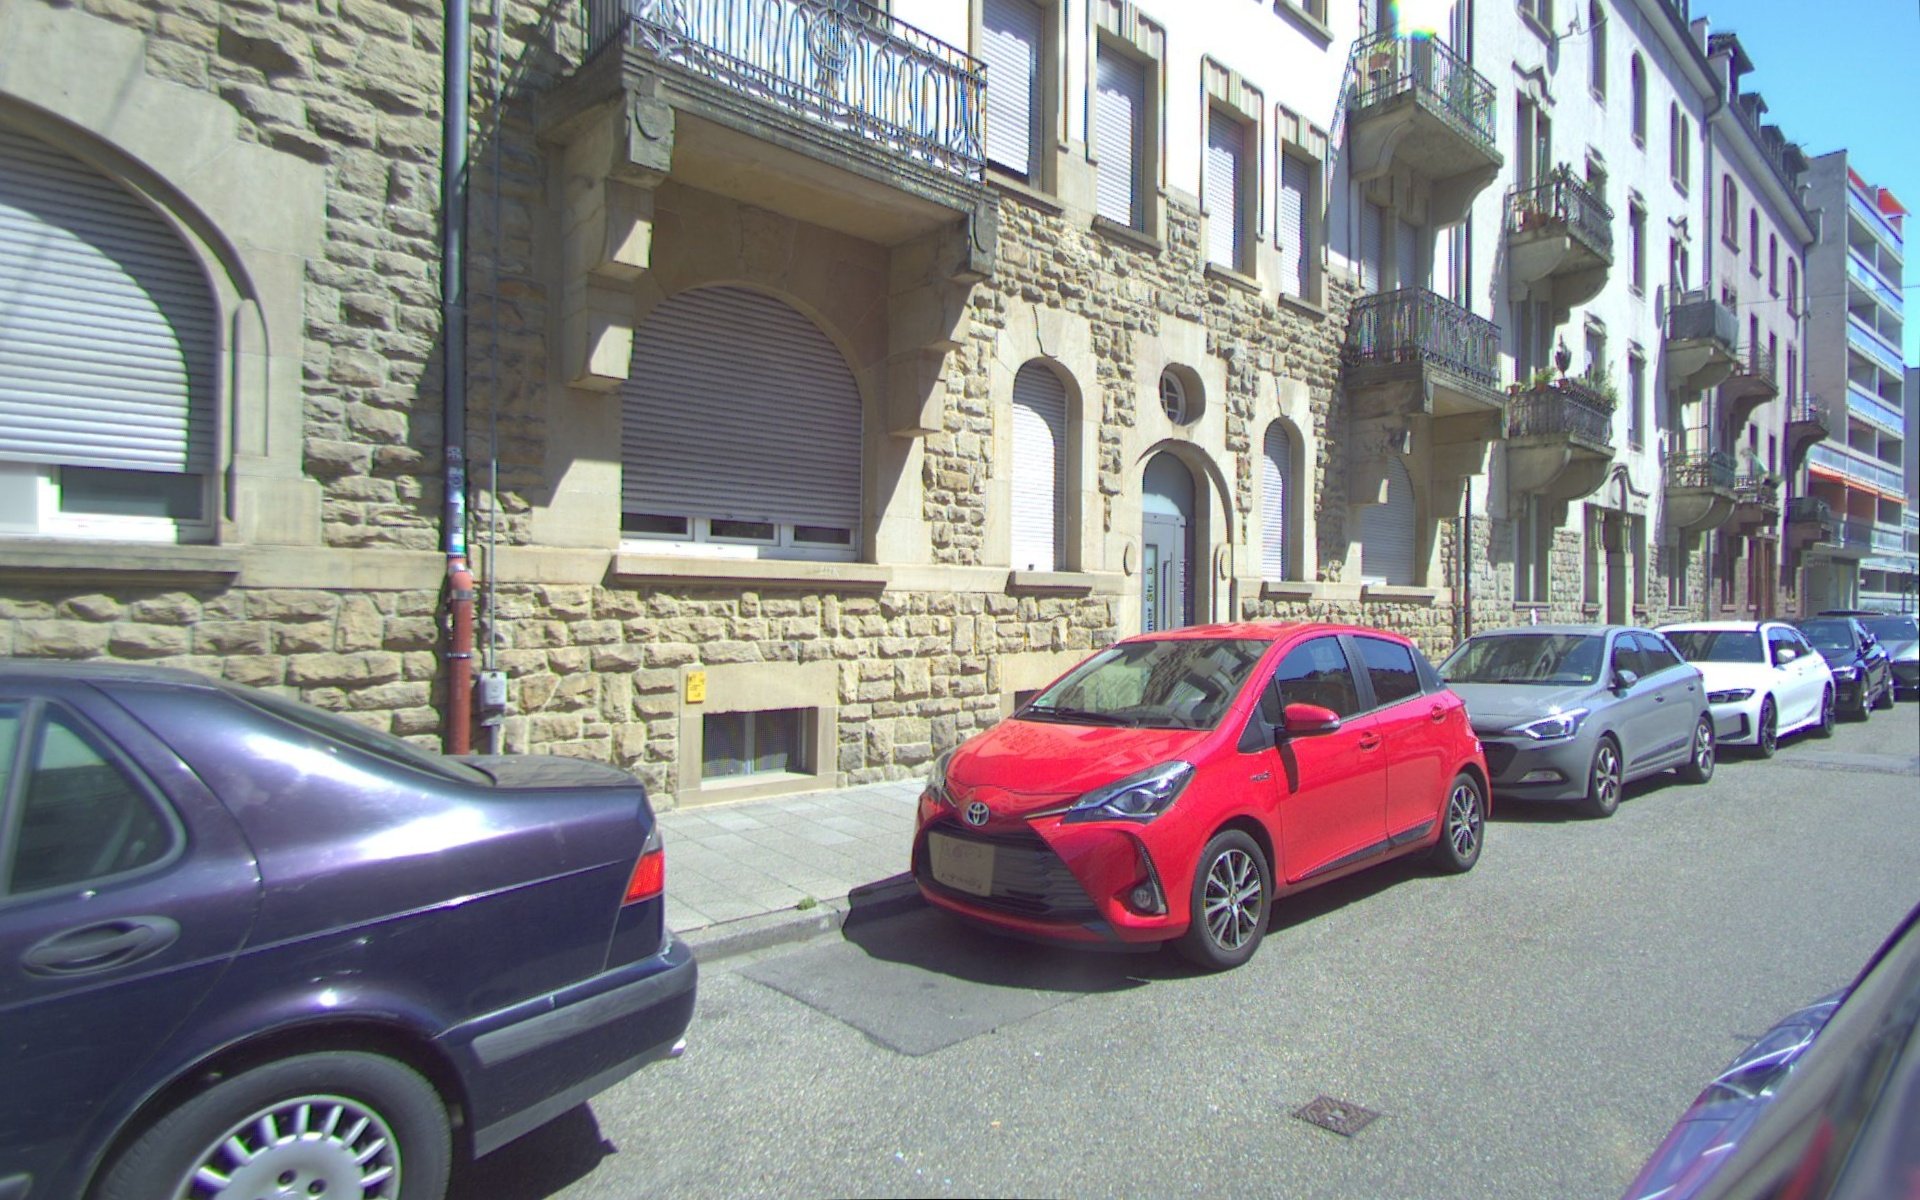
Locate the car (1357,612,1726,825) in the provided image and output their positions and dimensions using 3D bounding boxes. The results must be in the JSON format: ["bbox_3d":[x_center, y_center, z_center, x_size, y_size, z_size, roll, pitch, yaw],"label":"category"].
[{"bbox_3d":[5.254,0.866,8.963,3.787,1.471,1.592,0,-2,-40],"label":"car"}]

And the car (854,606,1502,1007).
[{"bbox_3d":[1.414,0.789,5.611,3.776,1.471,1.572,0,-2,-42],"label":"car"}]

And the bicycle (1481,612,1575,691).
[{"bbox_3d":[9.659,0.837,17.168,2.088,1.204,0.641,0,4,-40],"label":"bicycle"}]

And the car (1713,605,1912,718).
[{"bbox_3d":[13.528,0.847,15.962,4.587,1.476,1.740,0,1,-41],"label":"car"}]

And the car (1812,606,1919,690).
[{"bbox_3d":[18.063,0.862,19.667,4.414,1.450,1.825,1,0,-43],"label":"car"}]

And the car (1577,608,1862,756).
[{"bbox_3d":[9.409,0.867,12.402,4.514,1.471,1.720,0,-2,-39],"label":"car"}]

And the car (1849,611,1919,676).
[{"bbox_3d":[22.139,0.965,23.431,4.276,1.375,1.789,1,1,-41],"label":"car"}]

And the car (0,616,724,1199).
[{"bbox_3d":[-2.570,0.791,1.910,3.906,1.417,1.513,0,-3,-44],"label":"car"}]

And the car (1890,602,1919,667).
[{"bbox_3d":[26.001,0.883,26.534,4.015,1.642,1.653,0,1,-37],"label":"car"}]
